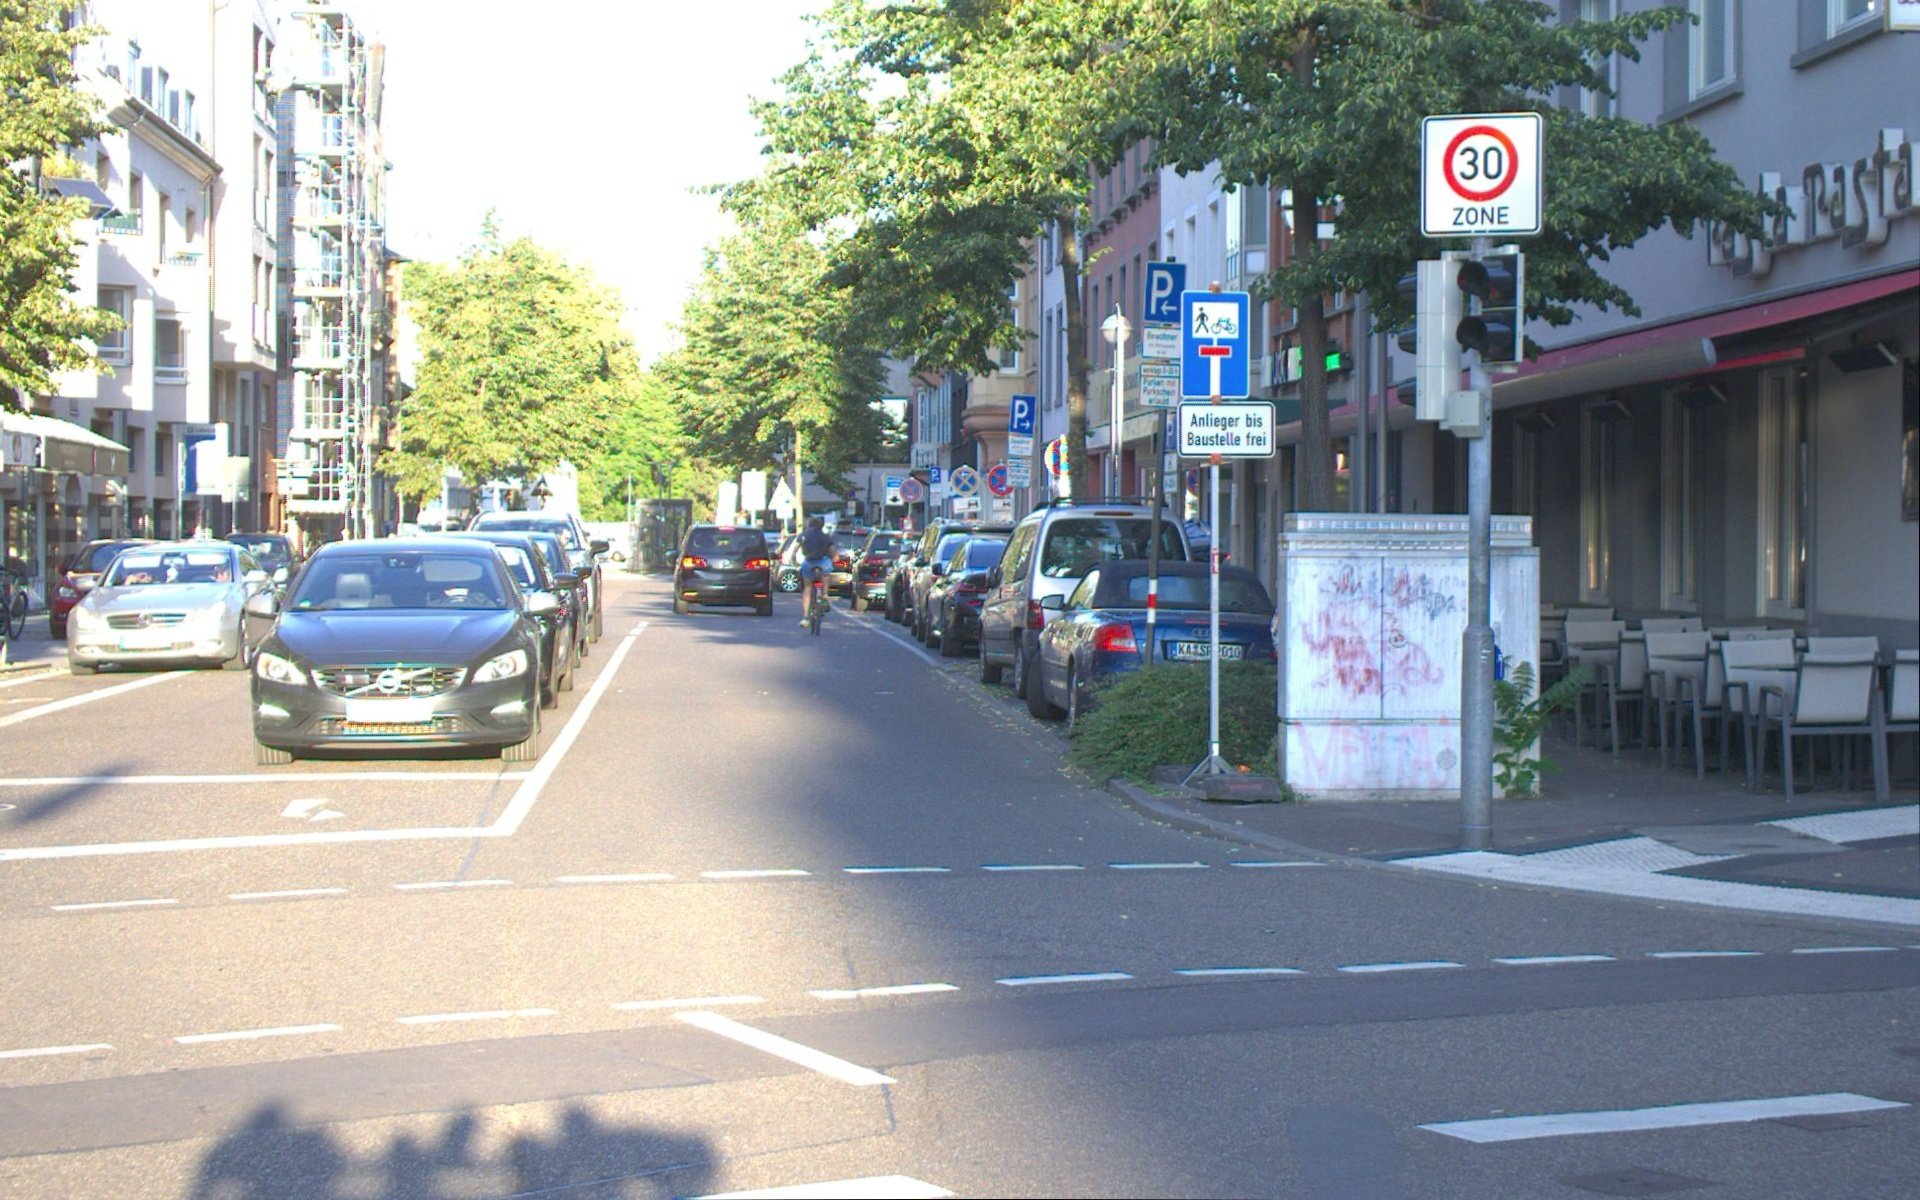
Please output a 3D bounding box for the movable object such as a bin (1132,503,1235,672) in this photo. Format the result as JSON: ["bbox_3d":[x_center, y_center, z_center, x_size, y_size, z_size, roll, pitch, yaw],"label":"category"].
[{"bbox_3d":[2.403,-0.138,37.073,0.834,1.768,1.206,2,0,-8],"label":"movable object such as a bin"}]

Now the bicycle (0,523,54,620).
[{"bbox_3d":[-13.417,-0.410,48.032,0.958,1.296,3.128,2,0,-6],"label":"bicycle"}]

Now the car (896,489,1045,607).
[{"bbox_3d":[0.116,-0.807,54.765,1.883,1.748,5.060,2,0,-5],"label":"car"}]

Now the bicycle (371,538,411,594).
[{"bbox_3d":[-14.385,-0.859,86.901,0.780,1.368,3.143,2,0,-12],"label":"bicycle"}]

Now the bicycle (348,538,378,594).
[{"bbox_3d":[-15.068,-0.862,86.737,0.584,1.391,3.162,2,0,-12],"label":"bicycle"}]

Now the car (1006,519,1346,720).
[{"bbox_3d":[1.571,0.099,26.582,1.936,1.371,4.183,2,1,-6],"label":"car"}]

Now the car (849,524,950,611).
[{"bbox_3d":[-1.256,-0.645,69.812,1.811,1.662,4.206,2,0,-3],"label":"car"}]

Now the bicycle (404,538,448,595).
[{"bbox_3d":[-13.547,-0.852,87.093,0.892,1.391,3.167,1,1,-12],"label":"bicycle"}]

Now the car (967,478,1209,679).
[{"bbox_3d":[1.164,-0.247,33.096,1.654,1.772,4.013,2,1,-7],"label":"car"}]

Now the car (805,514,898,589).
[{"bbox_3d":[-2.655,-1.194,83.170,1.824,1.689,4.370,2,1,-7],"label":"car"}]

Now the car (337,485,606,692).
[{"bbox_3d":[-4.149,-0.111,29.866,1.946,1.639,4.616,-1,0,-4],"label":"car"}]

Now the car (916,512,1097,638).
[{"bbox_3d":[0.512,-0.347,42.321,1.752,1.415,4.510,2,1,-5],"label":"car"}]

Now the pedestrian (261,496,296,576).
[{"bbox_3d":[-15.071,-1.416,76.032,0.716,1.734,0.739,2,0,-12],"label":"pedestrian"}]

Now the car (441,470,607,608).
[{"bbox_3d":[-5.501,-0.754,43.851,1.940,1.639,4.739,-1,0,-5],"label":"car"}]

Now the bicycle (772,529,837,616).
[{"bbox_3d":[-2.206,-0.392,48.578,0.780,1.200,2.021,-1,1,-6],"label":"bicycle"}]

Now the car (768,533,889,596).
[{"bbox_3d":[-3.410,-0.911,88.962,2.968,1.531,1.434,2,0,-8],"label":"car"}]

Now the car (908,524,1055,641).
[{"bbox_3d":[0.247,-0.250,48.530,1.811,1.522,4.994,2,0,-2],"label":"car"}]

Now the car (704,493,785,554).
[{"bbox_3d":[-7.302,-2.561,116.093,2.264,1.760,4.510,7,0,-7],"label":"car"}]

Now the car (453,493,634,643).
[{"bbox_3d":[-4.560,-0.352,38.140,1.723,1.544,4.465,-1,0,-4],"label":"car"}]

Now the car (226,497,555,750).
[{"bbox_3d":[-3.780,0.077,23.484,1.957,1.542,4.511,0,2,-6],"label":"car"}]

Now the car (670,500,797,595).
[{"bbox_3d":[-4.083,-0.935,62.621,1.993,1.596,4.509,2,0,0],"label":"car"}]

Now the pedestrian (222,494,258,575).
[{"bbox_3d":[-15.906,-1.437,75.955,0.716,1.761,0.694,2,0,-12],"label":"pedestrian"}]

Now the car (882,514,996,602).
[{"bbox_3d":[-0.414,-0.741,61.891,1.762,1.478,4.307,2,0,-3],"label":"car"}]

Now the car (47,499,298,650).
[{"bbox_3d":[-8.663,-0.283,38.198,1.993,1.506,4.510,-2,1,-4],"label":"car"}]

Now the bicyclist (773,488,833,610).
[{"bbox_3d":[-2.221,-0.720,48.576,0.780,1.690,1.007,0,0,-6],"label":"bicyclist"}]

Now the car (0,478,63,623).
[{"bbox_3d":[-14.127,-0.697,43.994,4.863,1.821,2.001,2,0,-22],"label":"car"}]

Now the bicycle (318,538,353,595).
[{"bbox_3d":[-15.730,-0.839,86.587,0.721,1.391,3.154,2,0,-12],"label":"bicycle"}]
